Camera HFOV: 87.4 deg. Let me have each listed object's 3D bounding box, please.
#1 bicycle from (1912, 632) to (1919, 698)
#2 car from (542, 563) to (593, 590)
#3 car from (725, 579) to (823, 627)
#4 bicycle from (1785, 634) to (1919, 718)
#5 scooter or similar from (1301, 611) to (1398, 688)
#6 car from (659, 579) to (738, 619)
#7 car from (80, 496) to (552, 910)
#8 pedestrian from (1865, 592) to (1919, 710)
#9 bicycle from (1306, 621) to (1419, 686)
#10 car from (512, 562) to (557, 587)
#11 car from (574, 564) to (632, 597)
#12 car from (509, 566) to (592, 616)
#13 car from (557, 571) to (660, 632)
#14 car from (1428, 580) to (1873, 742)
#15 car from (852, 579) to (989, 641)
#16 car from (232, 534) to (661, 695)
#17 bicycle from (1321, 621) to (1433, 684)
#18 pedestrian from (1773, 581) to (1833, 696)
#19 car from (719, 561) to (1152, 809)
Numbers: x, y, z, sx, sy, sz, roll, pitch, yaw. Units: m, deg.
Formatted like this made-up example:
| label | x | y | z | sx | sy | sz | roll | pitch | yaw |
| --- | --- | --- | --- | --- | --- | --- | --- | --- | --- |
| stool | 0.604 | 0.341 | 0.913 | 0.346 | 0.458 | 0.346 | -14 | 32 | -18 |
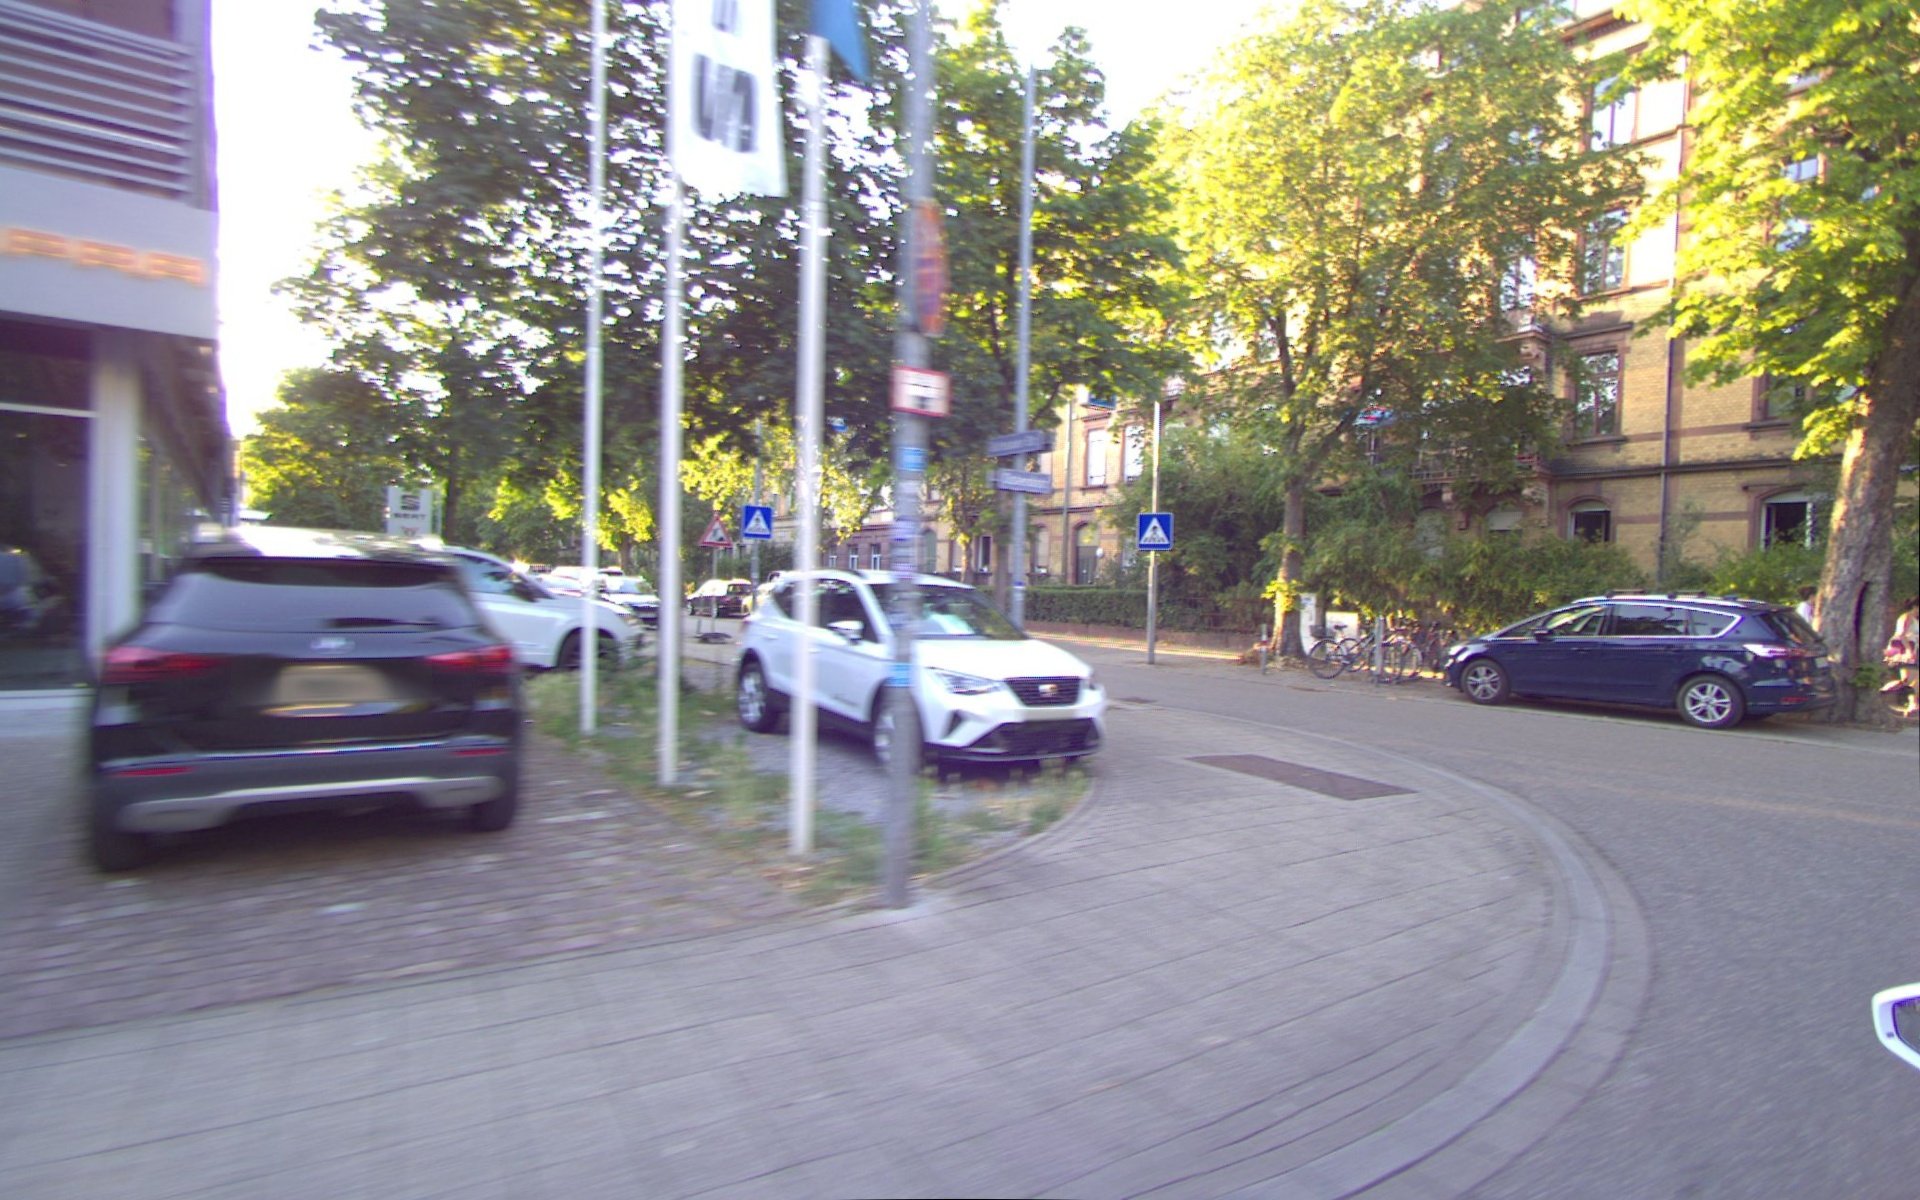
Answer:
| label | x | y | z | sx | sy | sz | roll | pitch | yaw |
| --- | --- | --- | --- | --- | --- | --- | --- | --- | --- |
| bicycle | 16.081 | 1.042 | 16.538 | 1.660 | 1.042 | 0.240 | 0 | 2 | -35 |
| car | -23.922 | -1.459 | 61.095 | 1.902 | 1.546 | 4.296 | 0 | 3 | -36 |
| car | -6.901 | 0.051 | 36.997 | 1.902 | 1.546 | 4.296 | 0 | 3 | -36 |
| bicycle | 12.582 | 1.043 | 13.970 | 1.650 | 1.042 | 0.444 | 2 | 2 | 36 |
| scooter or similar | 6.823 | 0.850 | 17.630 | 1.493 | 1.241 | 0.444 | 2 | 2 | 36 |
| car | -11.323 | -0.079 | 43.301 | 1.902 | 1.546 | 4.296 | 0 | 3 | -36 |
| car | -3.785 | 0.350 | 6.156 | 1.745 | 1.640 | 4.044 | 0 | 2 | -32 |
| pedestrian | 13.617 | 0.717 | 14.561 | 0.754 | 1.657 | 0.539 | 0 | 2 | -35 |
| bicycle | 7.262 | 0.942 | 18.184 | 1.831 | 1.042 | 0.444 | 2 | 2 | 36 |
| car | -28.721 | -1.723 | 67.670 | 1.902 | 1.546 | 4.296 | 0 | 3 | -36 |
| car | -19.663 | -1.094 | 55.182 | 1.902 | 1.680 | 4.296 | 0 | 3 | -36 |
| car | -14.140 | -0.344 | 34.583 | 1.900 | 1.495 | 4.019 | 0 | 4 | -34 |
| car | -10.302 | -0.023 | 29.300 | 1.900 | 1.495 | 4.019 | 0 | 4 | -34 |
| car | 9.460 | 0.675 | 14.213 | 1.902 | 1.756 | 4.795 | -1 | 3 | -36 |
| car | -1.216 | 0.220 | 28.923 | 1.902 | 1.546 | 4.296 | 0 | 3 | -36 |
| car | -5.815 | 0.149 | 11.675 | 4.179 | 1.571 | 1.691 | 1 | 1 | -34 |
| bicycle | 7.679 | 0.940 | 18.535 | 1.831 | 1.042 | 0.444 | 2 | 2 | 36 |
| pedestrian | 12.527 | 0.556 | 14.925 | 0.443 | 1.657 | 0.539 | 0 | 2 | -35 |
| car | -0.468 | 0.487 | 8.725 | 1.900 | 1.495 | 4.019 | 0 | 4 | -34 |
